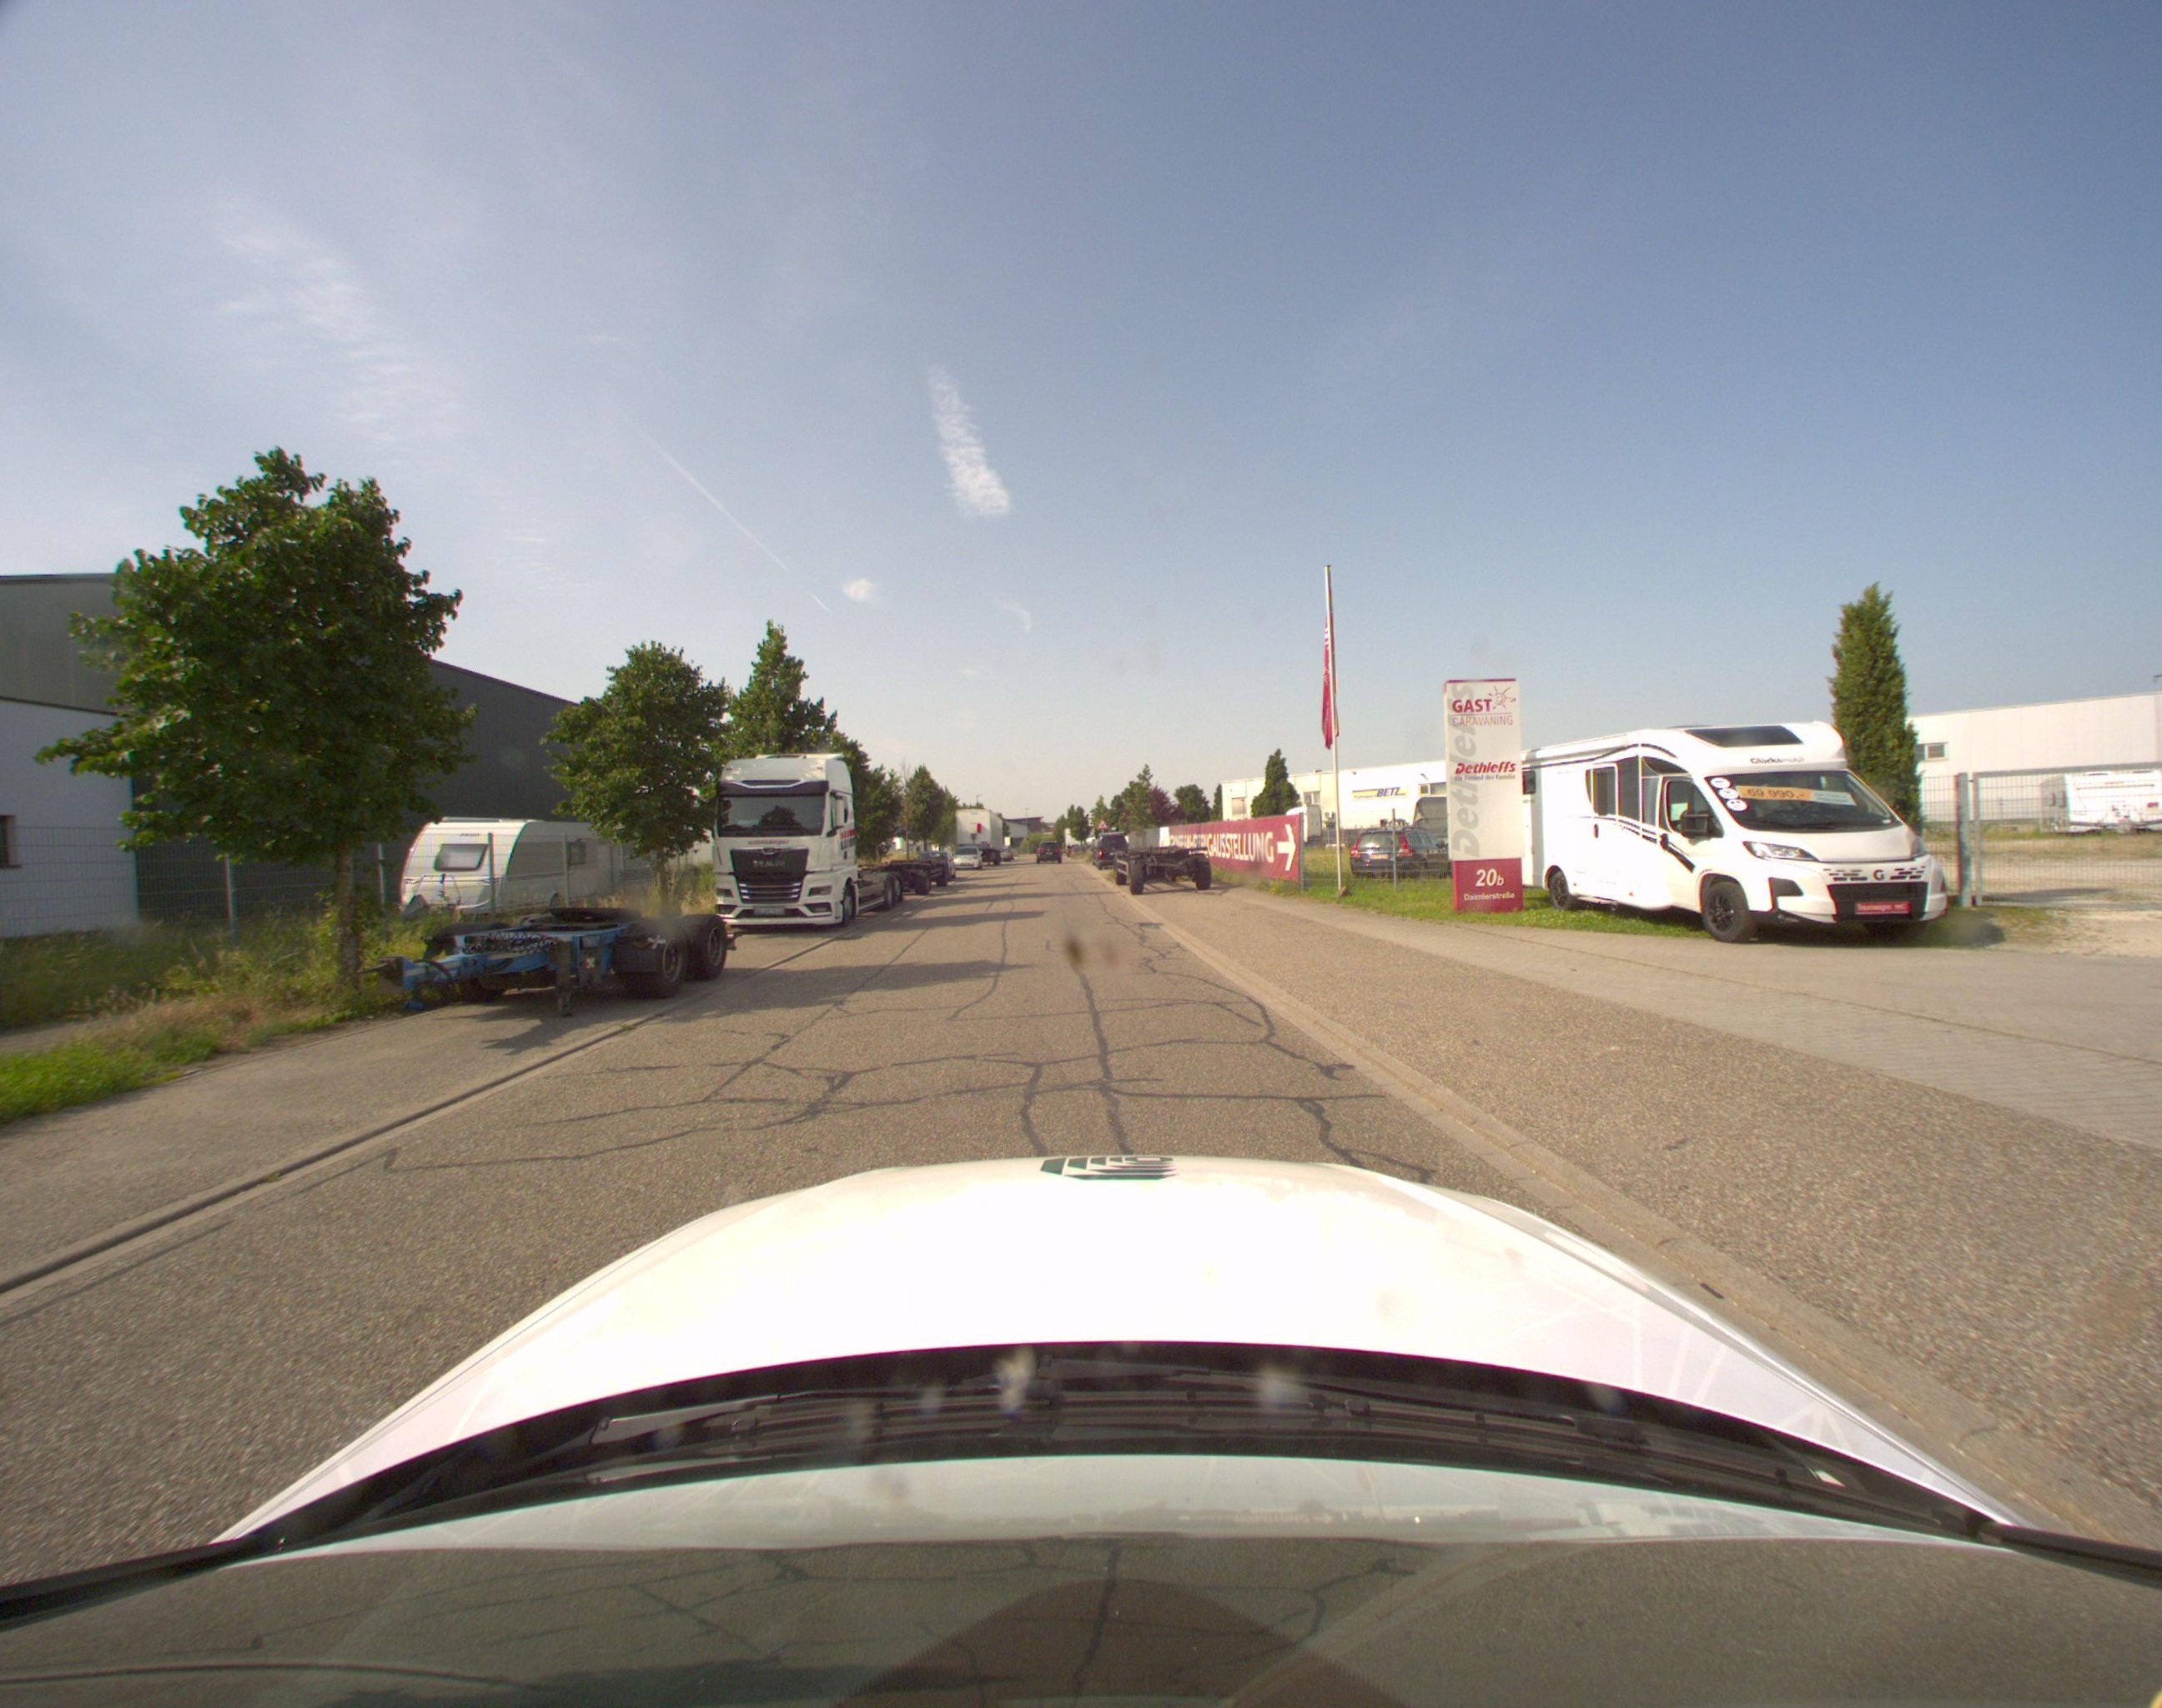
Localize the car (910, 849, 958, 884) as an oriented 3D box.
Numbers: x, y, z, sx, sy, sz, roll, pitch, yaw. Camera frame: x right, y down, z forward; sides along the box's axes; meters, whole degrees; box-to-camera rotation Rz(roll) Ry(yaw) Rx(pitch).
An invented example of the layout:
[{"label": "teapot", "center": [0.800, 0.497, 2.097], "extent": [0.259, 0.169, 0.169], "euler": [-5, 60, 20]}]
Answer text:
[{"label": "car", "center": [-6.930, 0.547, 38.766], "extent": [1.882, 1.436, 3.992], "euler": [-3, 1, -6]}]

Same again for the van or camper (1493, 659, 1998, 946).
[{"label": "van or camper", "center": [8.817, -0.618, 12.157], "extent": [2.319, 2.943, 6.983], "euler": [-3, 1, 6]}]

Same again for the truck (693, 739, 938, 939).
[{"label": "truck", "center": [-6.460, -0.401, 22.809], "extent": [2.618, 3.928, 12.914], "euler": [-2, 1, -1]}]

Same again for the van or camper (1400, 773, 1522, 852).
[{"label": "van or camper", "center": [16.829, -1.842, 35.814], "extent": [2.637, 3.083, 6.836], "euler": [-1, 2, 45]}]

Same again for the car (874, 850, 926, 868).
[{"label": "car", "center": [-15.470, 0.438, 69.848], "extent": [3.969, 1.340, 1.619], "euler": [-3, 1, 4]}]

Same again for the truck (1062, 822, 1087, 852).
[{"label": "truck", "center": [-0.808, -2.257, 106.374], "extent": [2.878, 3.585, 8.060], "euler": [-4, 1, 0]}]

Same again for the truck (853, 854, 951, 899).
[{"label": "truck", "center": [-6.645, 0.765, 31.132], "extent": [2.518, 1.265, 6.521], "euler": [-3, 1, -3]}]

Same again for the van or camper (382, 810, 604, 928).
[{"label": "van or camper", "center": [-14.804, 0.313, 20.999], "extent": [2.302, 2.560, 4.945], "euler": [-3, 1, -5]}]

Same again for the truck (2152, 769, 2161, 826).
[{"label": "truck", "center": [42.388, -2.152, 29.874], "extent": [2.427, 2.265, 8.051], "euler": [-1, 2, 44]}]

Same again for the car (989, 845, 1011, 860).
[{"label": "car", "center": [-9.098, -0.200, 91.849], "extent": [1.986, 1.523, 4.002], "euler": [-3, 1, 1]}]

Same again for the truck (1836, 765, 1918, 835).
[{"label": "truck", "center": [36.324, -2.446, 37.296], "extent": [2.427, 2.826, 8.051], "euler": [-1, 2, 44]}]

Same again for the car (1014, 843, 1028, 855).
[{"label": "car", "center": [-9.010, -0.756, 122.691], "extent": [1.989, 1.771, 3.997], "euler": [-3, 1, -3]}]

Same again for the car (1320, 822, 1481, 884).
[{"label": "car", "center": [8.842, -0.054, 22.479], "extent": [4.014, 1.476, 2.151], "euler": [-3, 1, -32]}]

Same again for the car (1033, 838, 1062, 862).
[{"label": "car", "center": [-2.600, -0.342, 62.084], "extent": [1.991, 1.804, 3.993], "euler": [0, 1, -5]}]

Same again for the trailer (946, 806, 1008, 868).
[{"label": "trailer", "center": [-8.214, -1.355, 66.338], "extent": [3.395, 4.339, 13.911], "euler": [-3, 1, -2]}]

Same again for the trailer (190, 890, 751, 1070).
[{"label": "trailer", "center": [-6.036, 1.143, 9.283], "extent": [2.568, 1.100, 5.197], "euler": [-2, 1, -2]}]

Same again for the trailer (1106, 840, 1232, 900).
[{"label": "trailer", "center": [2.499, 0.349, 26.397], "extent": [2.617, 1.388, 9.447], "euler": [-5, 1, -2]}]

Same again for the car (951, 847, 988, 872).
[{"label": "car", "center": [-7.119, 0.296, 52.308], "extent": [1.805, 1.427, 3.999], "euler": [-3, 1, -1]}]

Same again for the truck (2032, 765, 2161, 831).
[{"label": "truck", "center": [40.239, -2.190, 32.345], "extent": [2.427, 2.265, 7.259], "euler": [-1, 2, 44]}]

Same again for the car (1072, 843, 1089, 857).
[{"label": "car", "center": [-0.101, -0.527, 95.671], "extent": [1.813, 1.449, 3.800], "euler": [-4, 2, 0]}]

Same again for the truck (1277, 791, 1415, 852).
[{"label": "truck", "center": [19.197, -2.283, 59.436], "extent": [9.195, 3.972, 2.474], "euler": [-1, 2, 41]}]

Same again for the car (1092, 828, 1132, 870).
[{"label": "car", "center": [1.613, -0.309, 44.285], "extent": [1.813, 1.978, 3.999], "euler": [-6, 2, 0]}]

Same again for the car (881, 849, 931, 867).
[{"label": "car", "center": [-15.550, 0.326, 72.432], "extent": [3.969, 1.340, 1.619], "euler": [-3, 1, 4]}]
